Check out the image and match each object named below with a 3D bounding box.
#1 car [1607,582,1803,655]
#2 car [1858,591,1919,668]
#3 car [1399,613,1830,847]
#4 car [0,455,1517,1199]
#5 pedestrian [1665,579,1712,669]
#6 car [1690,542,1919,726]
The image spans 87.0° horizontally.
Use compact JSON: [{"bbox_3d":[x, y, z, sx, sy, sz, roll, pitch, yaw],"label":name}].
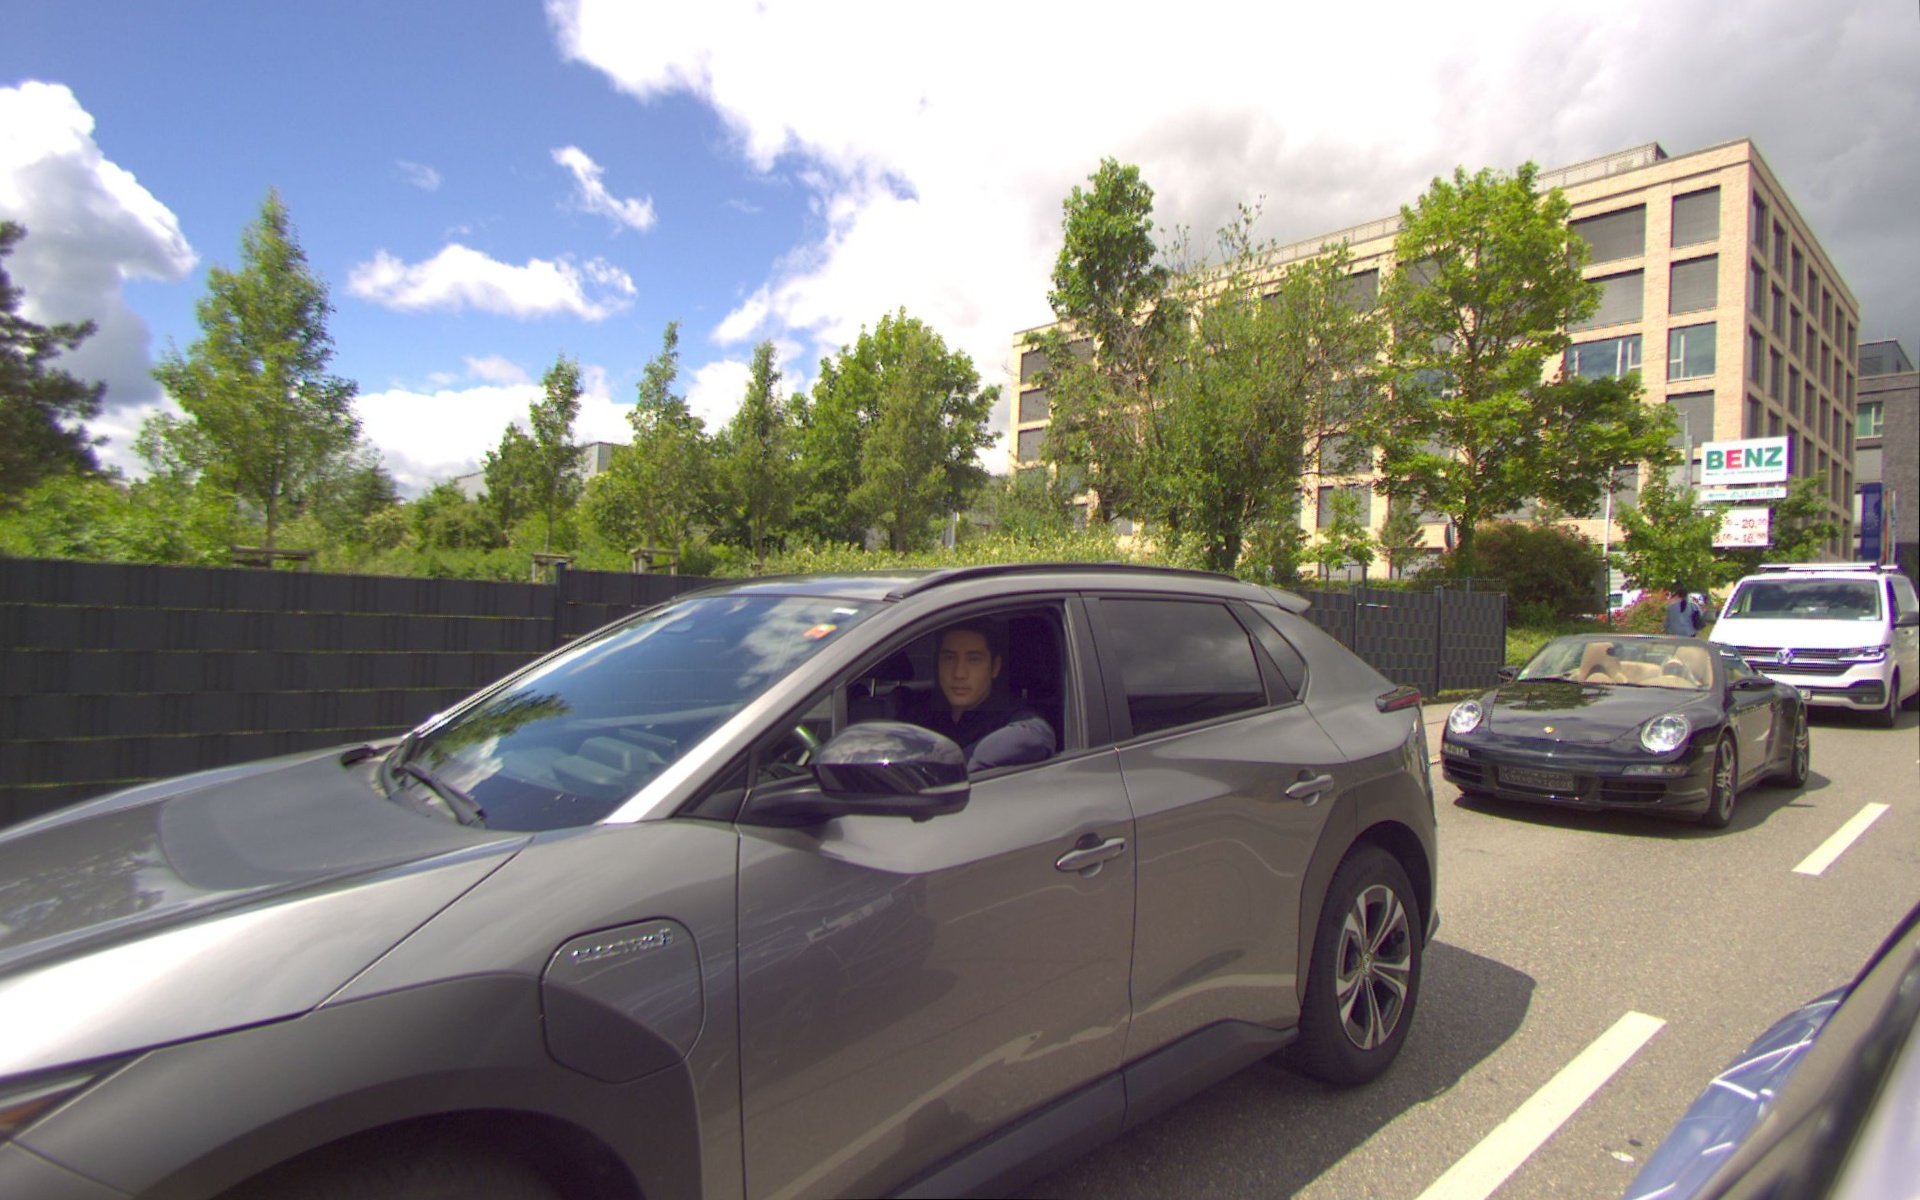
[{"bbox_3d":[19.979,0.418,27.256,1.793,1.754,3.991,0,2,-44],"label":"car"},{"bbox_3d":[20.244,0.583,21.059,3.930,1.481,1.817,0,2,-41],"label":"car"},{"bbox_3d":[5.276,0.794,7.964,3.967,1.310,1.823,0,0,-41],"label":"car"},{"bbox_3d":[-0.354,0.659,2.870,4.501,1.649,1.997,0,1,-42],"label":"car"},{"bbox_3d":[13.844,0.440,19.232,0.435,1.678,0.631,0,1,-42],"label":"pedestrian"},{"bbox_3d":[11.861,0.375,13.791,4.677,2.075,2.087,0,0,-41],"label":"car"}]
